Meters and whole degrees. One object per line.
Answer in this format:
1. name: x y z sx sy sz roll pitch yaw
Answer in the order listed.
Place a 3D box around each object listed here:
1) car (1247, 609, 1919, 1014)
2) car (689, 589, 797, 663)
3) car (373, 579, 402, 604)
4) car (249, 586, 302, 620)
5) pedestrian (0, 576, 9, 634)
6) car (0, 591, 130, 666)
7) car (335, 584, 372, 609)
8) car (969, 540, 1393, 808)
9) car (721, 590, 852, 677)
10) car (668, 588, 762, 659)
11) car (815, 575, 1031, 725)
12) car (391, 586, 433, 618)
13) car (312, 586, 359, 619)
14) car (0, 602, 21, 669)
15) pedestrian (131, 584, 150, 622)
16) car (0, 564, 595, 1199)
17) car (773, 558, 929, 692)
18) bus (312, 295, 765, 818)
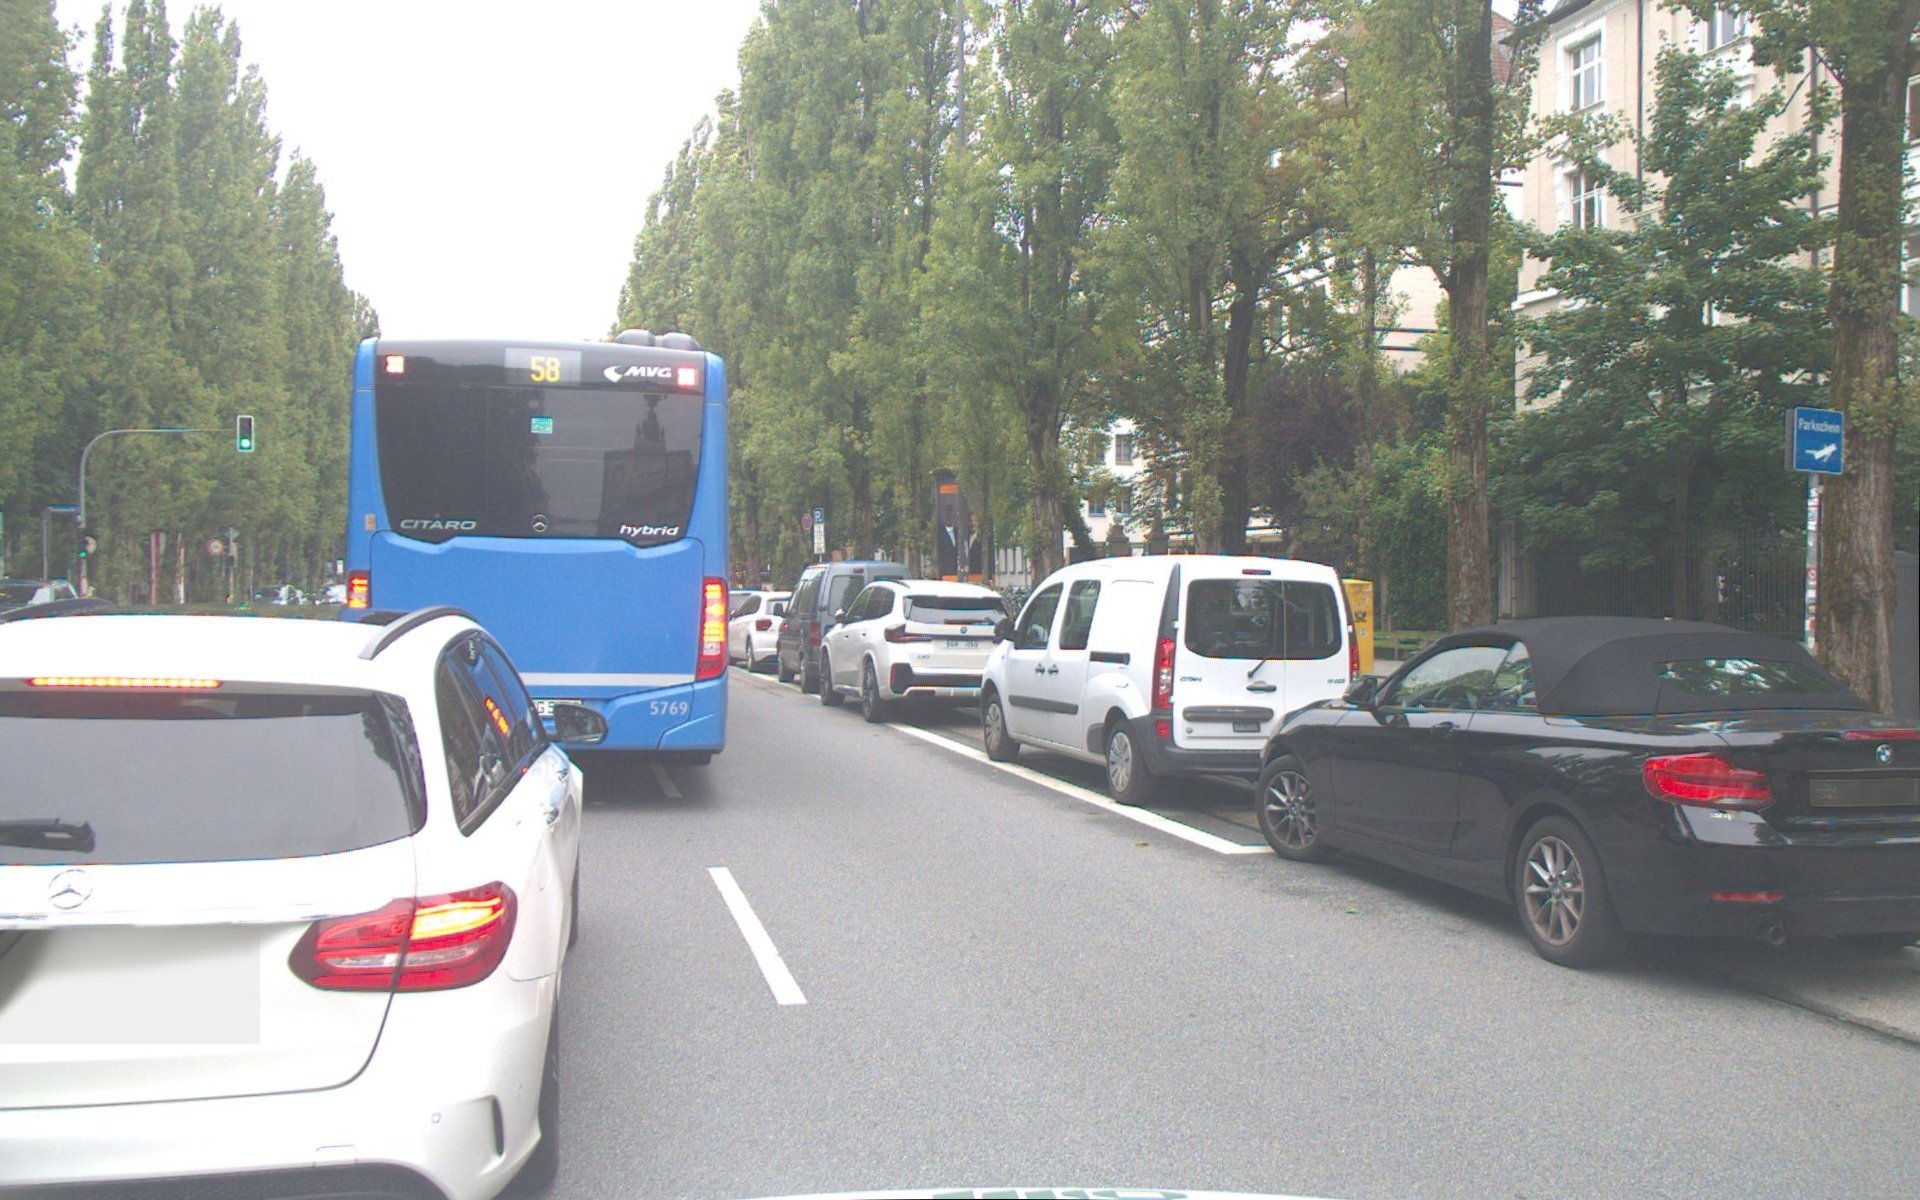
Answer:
1. car: 3.010 0.765 8.032 1.717 1.378 3.985 0 0 -14
2. car: -4.821 0.523 36.314 1.757 1.518 3.982 0 1 -17
3. car: -47.736 -0.739 138.041 1.961 2.049 4.445 -1 1 -15
4. car: -31.600 0.136 76.448 1.792 1.512 3.982 0 1 -16
5. pedestrian: -34.151 0.184 58.386 0.817 2.049 0.774 0 0 -18
6. car: -20.040 0.588 37.159 1.679 1.579 3.984 0 1 -15
7. car: -40.687 -0.234 111.031 1.961 1.620 4.424 -1 1 -16
8. car: 1.573 0.508 13.413 1.804 1.804 4.210 2 0 -17
9. car: -3.353 0.577 31.409 1.770 1.501 3.981 0 1 -17
10. car: -6.163 0.545 41.278 1.780 1.646 3.981 0 1 -17
11. car: -0.562 0.542 20.172 1.650 1.624 4.070 1 0 -16
12. car: -29.191 0.099 88.208 1.961 1.647 3.982 0 0 -16
13. car: -30.109 0.094 79.771 1.792 1.512 3.982 0 1 -16
14. car: -19.247 0.709 31.649 1.268 1.296 3.833 0 1 -15
15. pedestrian: -44.881 0.150 90.565 0.818 2.049 0.773 0 0 -19
16. car: -2.062 0.667 5.112 1.794 1.480 4.568 1 0 -13
17. car: -1.746 0.338 25.236 1.675 1.868 3.985 1 0 -14
18. bus: -3.463 -0.311 15.074 2.804 3.269 9.038 0 0 -10
